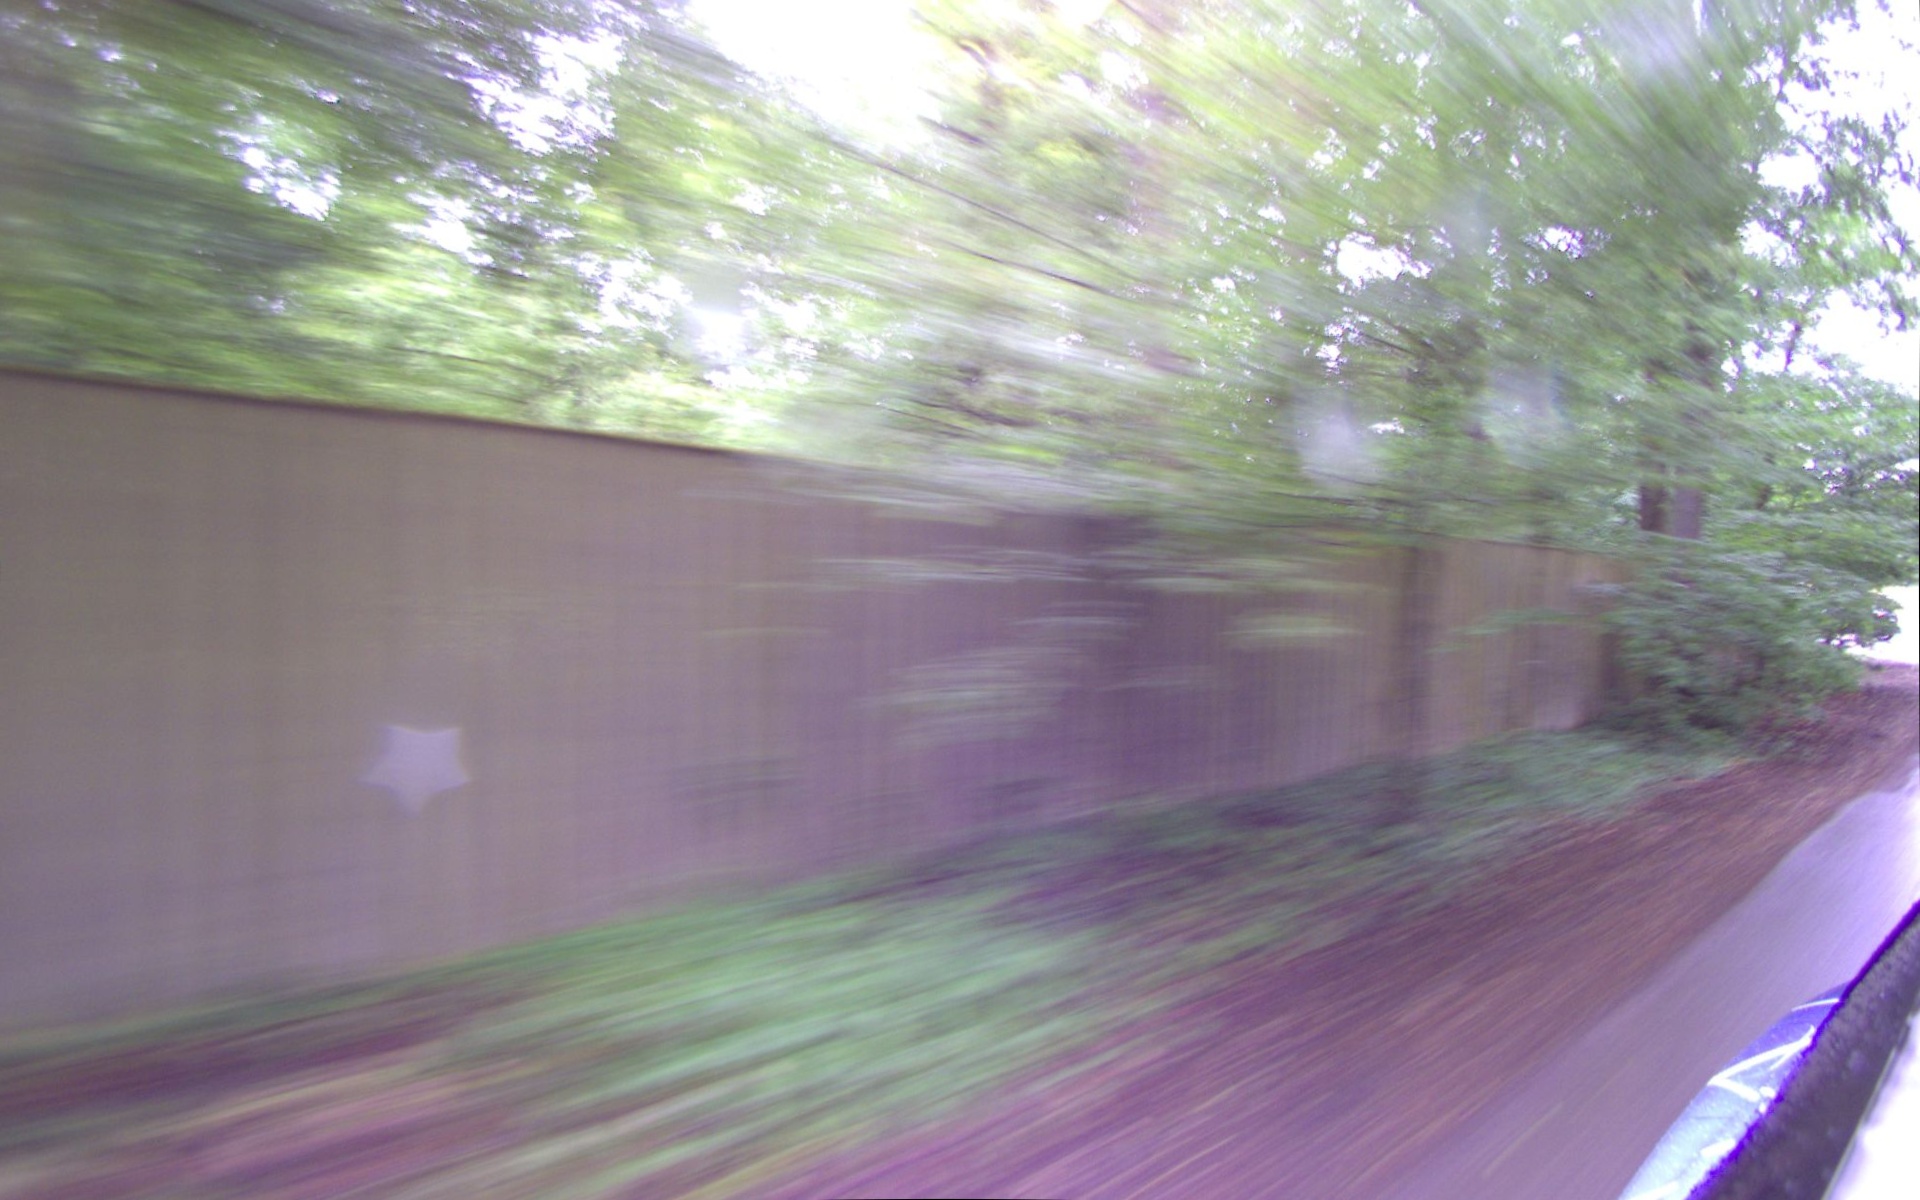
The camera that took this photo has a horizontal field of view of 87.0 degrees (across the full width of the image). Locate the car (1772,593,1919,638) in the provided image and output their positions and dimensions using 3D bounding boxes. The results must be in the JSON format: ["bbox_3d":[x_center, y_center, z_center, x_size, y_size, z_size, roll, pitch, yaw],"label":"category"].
[{"bbox_3d":[31.861,0.524,36.417,1.672,1.453,3.725,1,1,-29],"label":"car"}]
